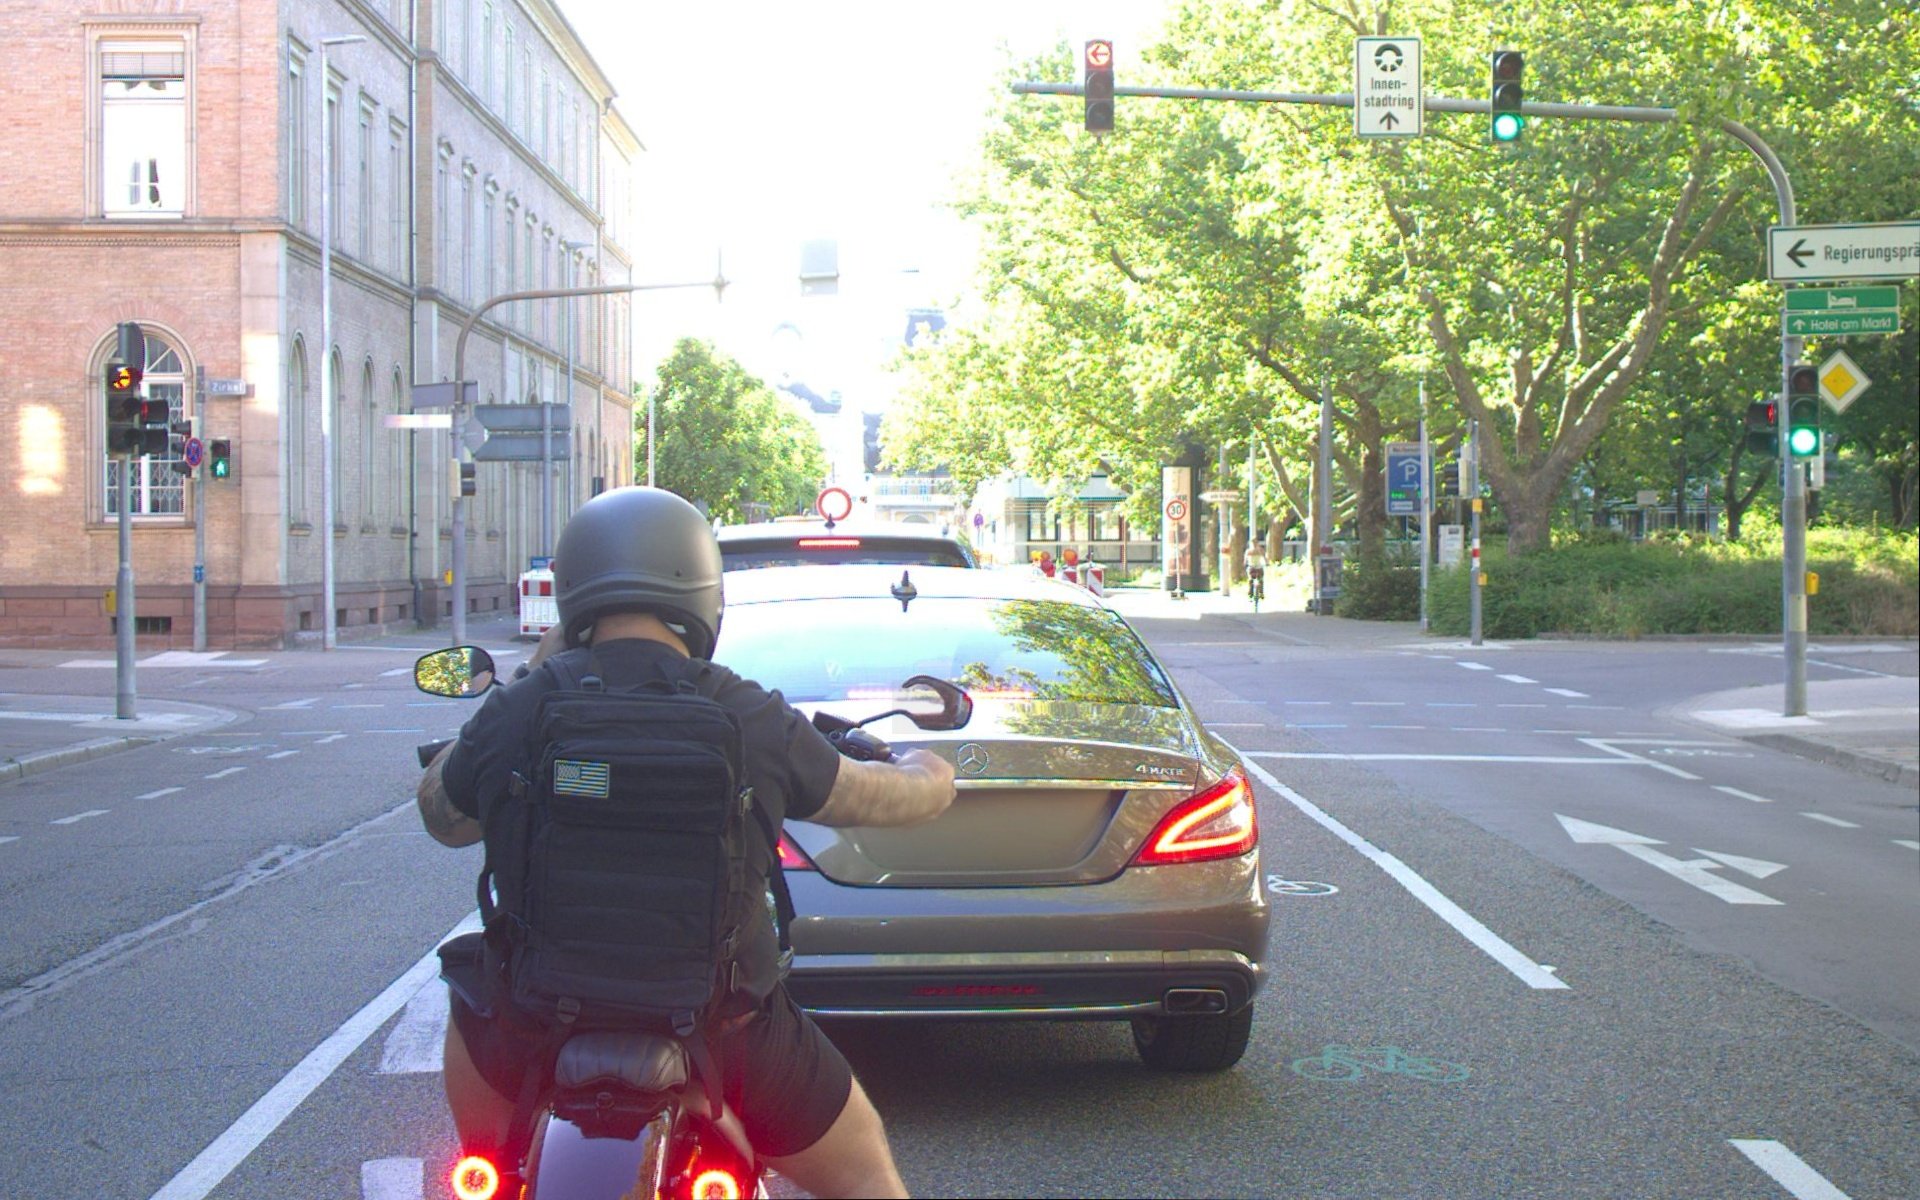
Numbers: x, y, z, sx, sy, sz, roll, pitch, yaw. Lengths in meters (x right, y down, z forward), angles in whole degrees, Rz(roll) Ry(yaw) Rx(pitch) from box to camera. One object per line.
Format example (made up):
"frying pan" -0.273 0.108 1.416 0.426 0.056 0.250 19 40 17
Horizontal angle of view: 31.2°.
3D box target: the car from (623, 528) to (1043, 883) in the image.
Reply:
"car" -0.652 0.418 16.781 1.813 1.530 3.849 0 1 -3

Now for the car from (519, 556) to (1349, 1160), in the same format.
"car" -0.316 0.596 10.583 1.901 1.436 4.290 0 1 -9

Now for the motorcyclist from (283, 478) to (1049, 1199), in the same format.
"motorcyclist" -0.421 0.620 5.279 1.061 1.577 0.908 1 0 -1

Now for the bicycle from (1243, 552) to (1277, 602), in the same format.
"bicycle" 7.175 -0.550 82.309 0.716 1.168 2.176 1 1 3

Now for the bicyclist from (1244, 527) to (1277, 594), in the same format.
"bicyclist" 7.185 -0.942 82.236 0.716 1.577 0.936 1 0 3

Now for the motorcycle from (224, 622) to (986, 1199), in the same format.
"motorcycle" -0.471 0.738 5.550 0.962 1.352 2.320 1 1 -1
